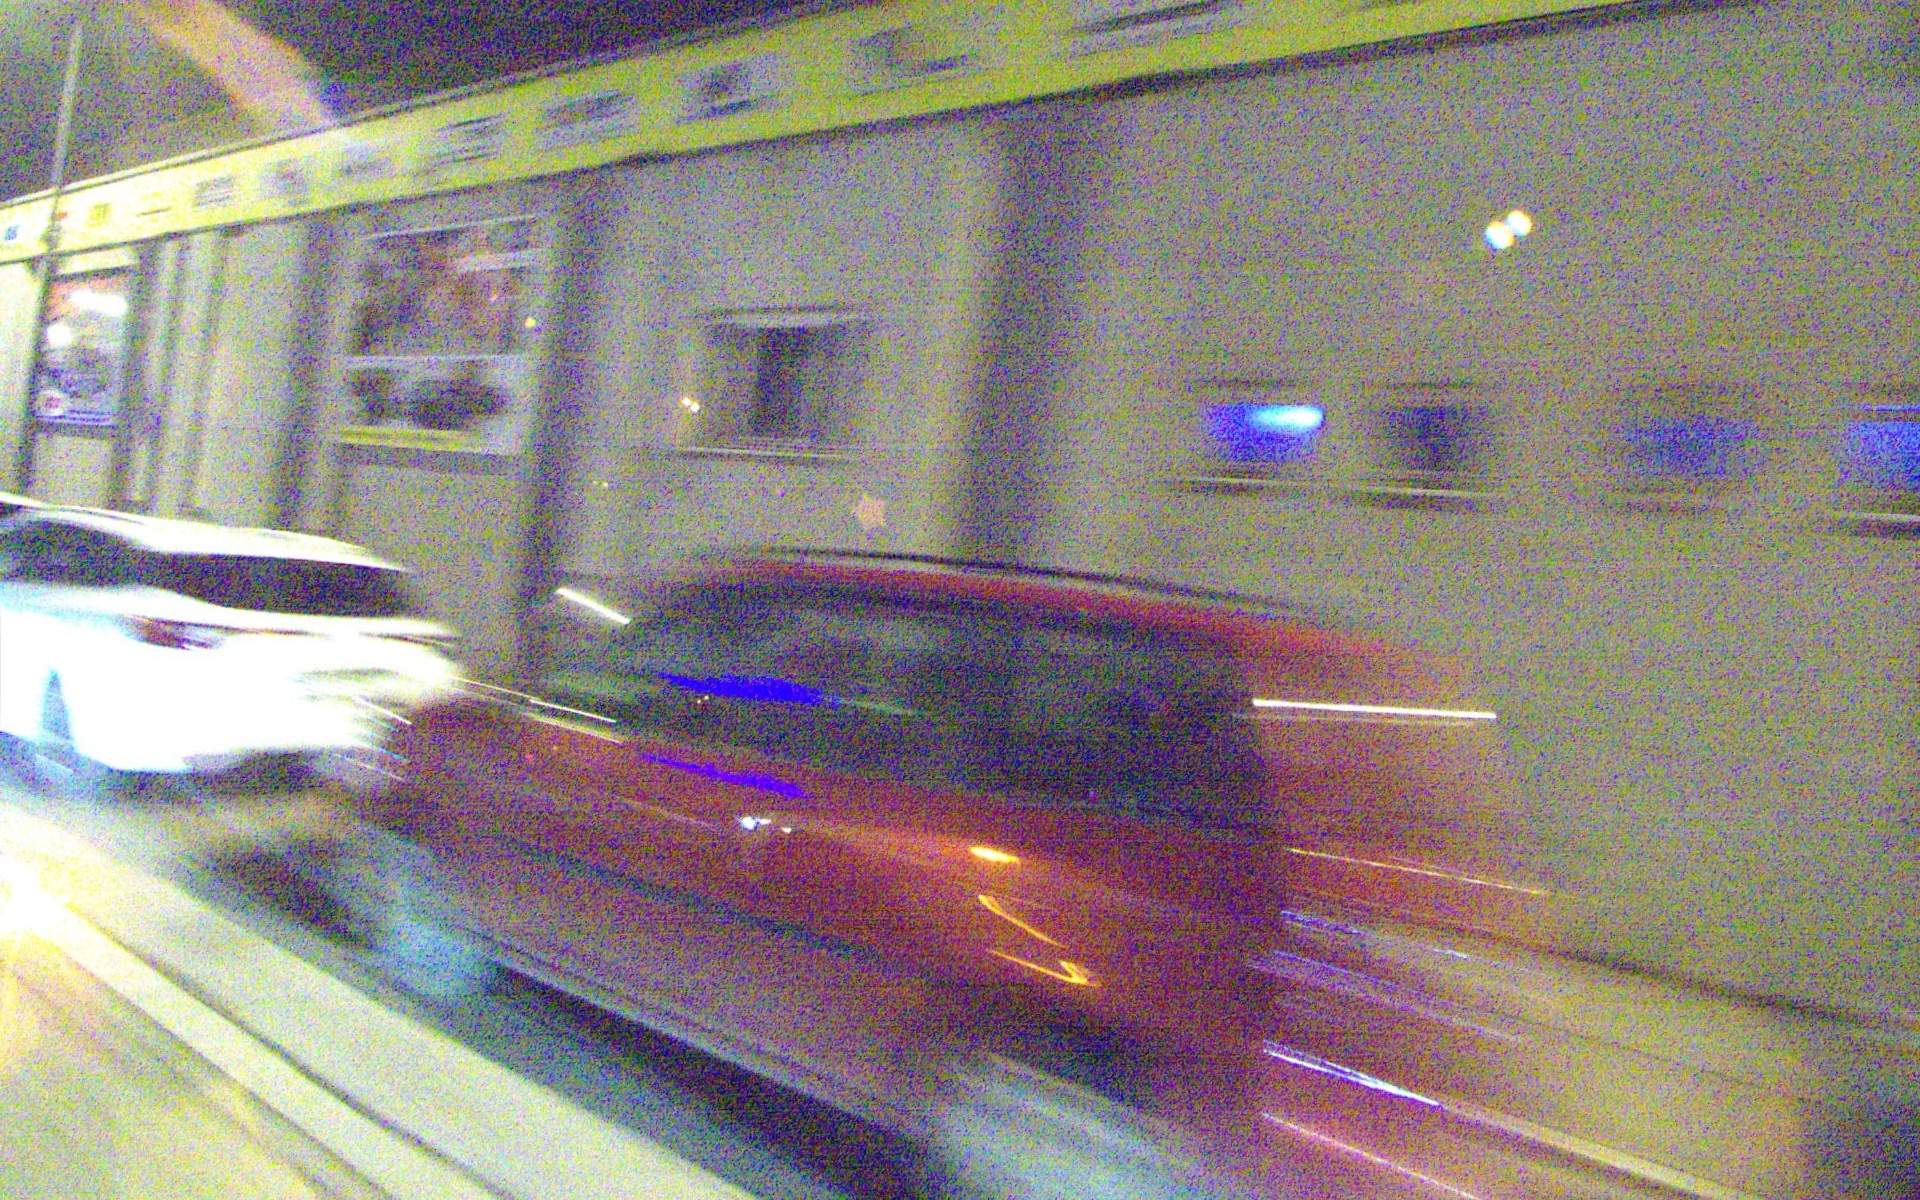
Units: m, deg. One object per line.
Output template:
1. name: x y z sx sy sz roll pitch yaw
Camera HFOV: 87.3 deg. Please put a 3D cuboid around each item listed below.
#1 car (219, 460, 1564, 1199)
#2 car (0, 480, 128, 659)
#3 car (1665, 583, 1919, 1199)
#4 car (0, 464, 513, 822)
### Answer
1. car: -0.493 0.569 3.654 4.381 1.643 1.826 7 0 30
2. car: -10.232 -0.492 9.657 4.468 1.506 1.864 6 -2 29
3. car: 3.774 1.056 1.119 4.548 1.608 1.827 7 0 29
4. car: -5.153 0.087 6.387 4.468 1.562 1.779 6 -2 29
